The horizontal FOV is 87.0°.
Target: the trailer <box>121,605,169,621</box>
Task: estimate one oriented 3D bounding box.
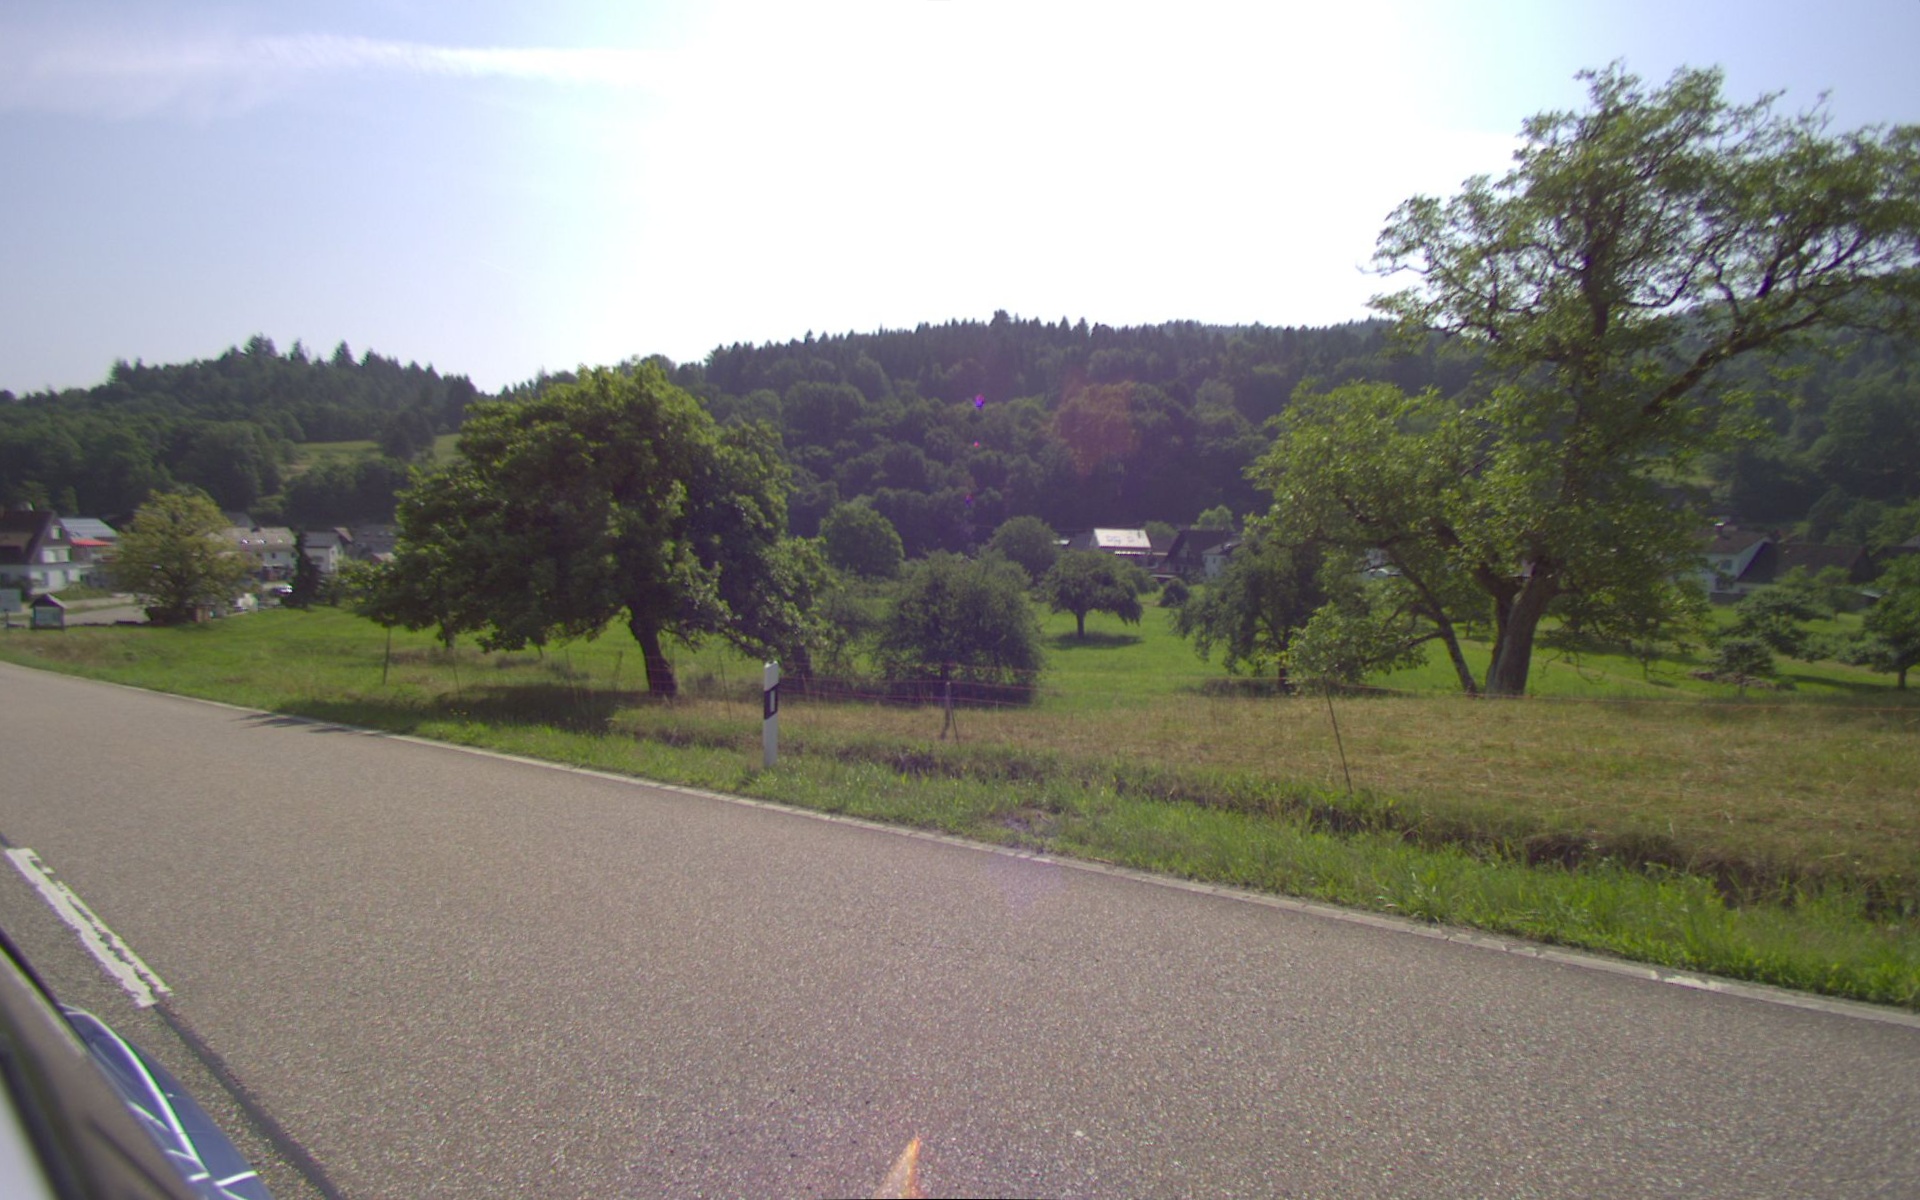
[{"bbox_3d":[-80.388,1.256,99.921,1.965,1.235,5.565,-1,3,-20],"label":"trailer"}]

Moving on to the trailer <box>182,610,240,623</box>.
[{"bbox_3d":[-68.642,1.509,92.767,3.878,0.946,1.874,-1,4,-17],"label":"trailer"}]
